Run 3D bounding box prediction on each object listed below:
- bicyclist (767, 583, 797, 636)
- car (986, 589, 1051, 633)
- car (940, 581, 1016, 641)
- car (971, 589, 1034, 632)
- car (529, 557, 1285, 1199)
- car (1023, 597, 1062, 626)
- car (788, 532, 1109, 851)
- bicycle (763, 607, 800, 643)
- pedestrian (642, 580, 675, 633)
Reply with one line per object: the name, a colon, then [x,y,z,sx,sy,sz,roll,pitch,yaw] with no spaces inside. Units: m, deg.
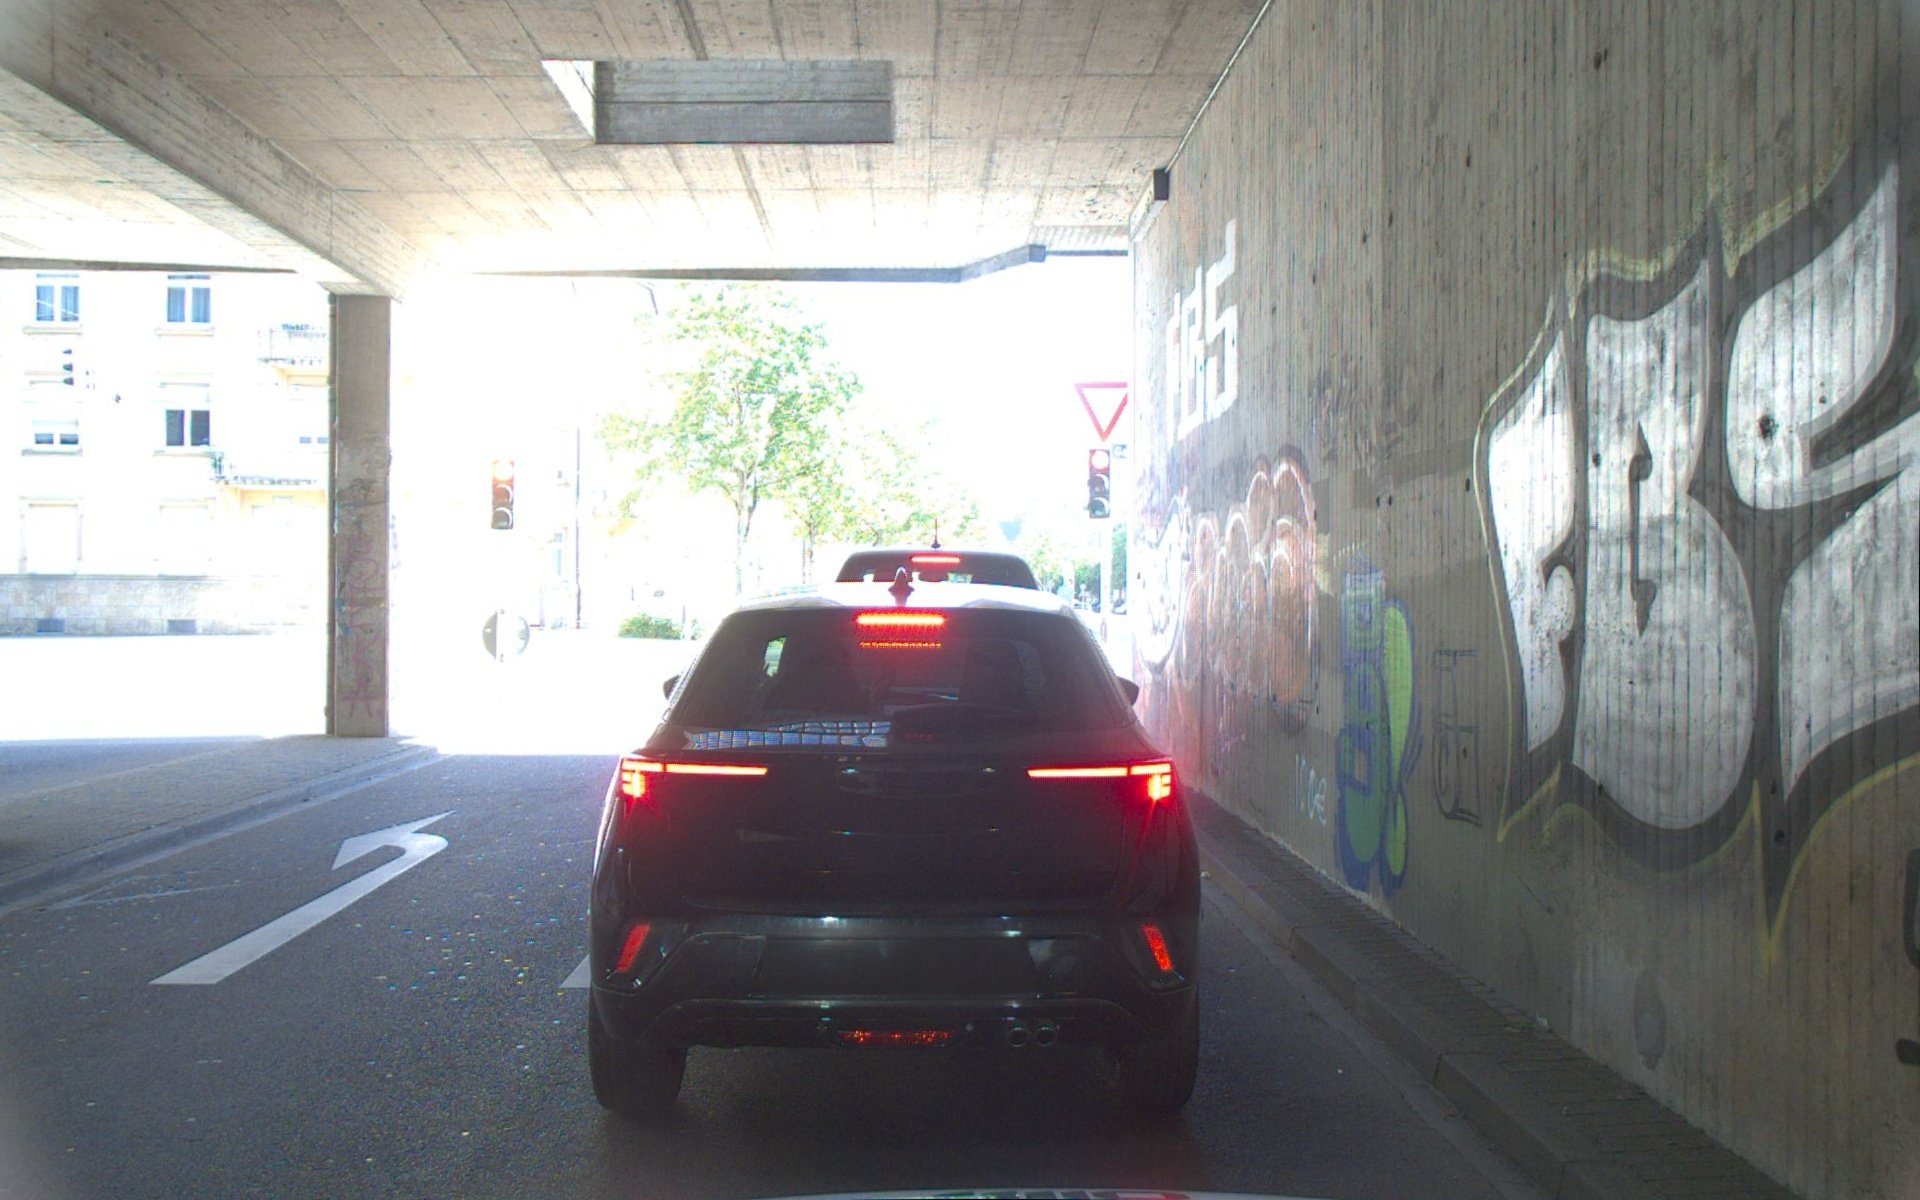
bicyclist: [-5.535,0.299,51.437,0.713,1.609,0.815,1,-1,9]
car: [2.471,0.471,69.019,2.173,1.749,4.463,0,-1,9]
car: [0.500,0.328,44.160,1.927,1.523,3.896,0,-1,1]
car: [1.625,0.430,62.197,1.926,1.523,3.899,0,-1,8]
car: [-0.154,0.671,6.041,1.844,1.565,3.963,0,0,-1]
car: [4.954,0.668,99.257,1.951,1.691,4.003,1,0,8]
car: [-0.094,0.531,11.866,1.906,1.892,3.963,0,0,-1]
bicycle: [-5.554,0.764,51.404,0.716,1.086,1.690,1,0,9]
pedestrian: [-11.815,0.256,64.914,0.971,2.049,1.089,0,0,7]
